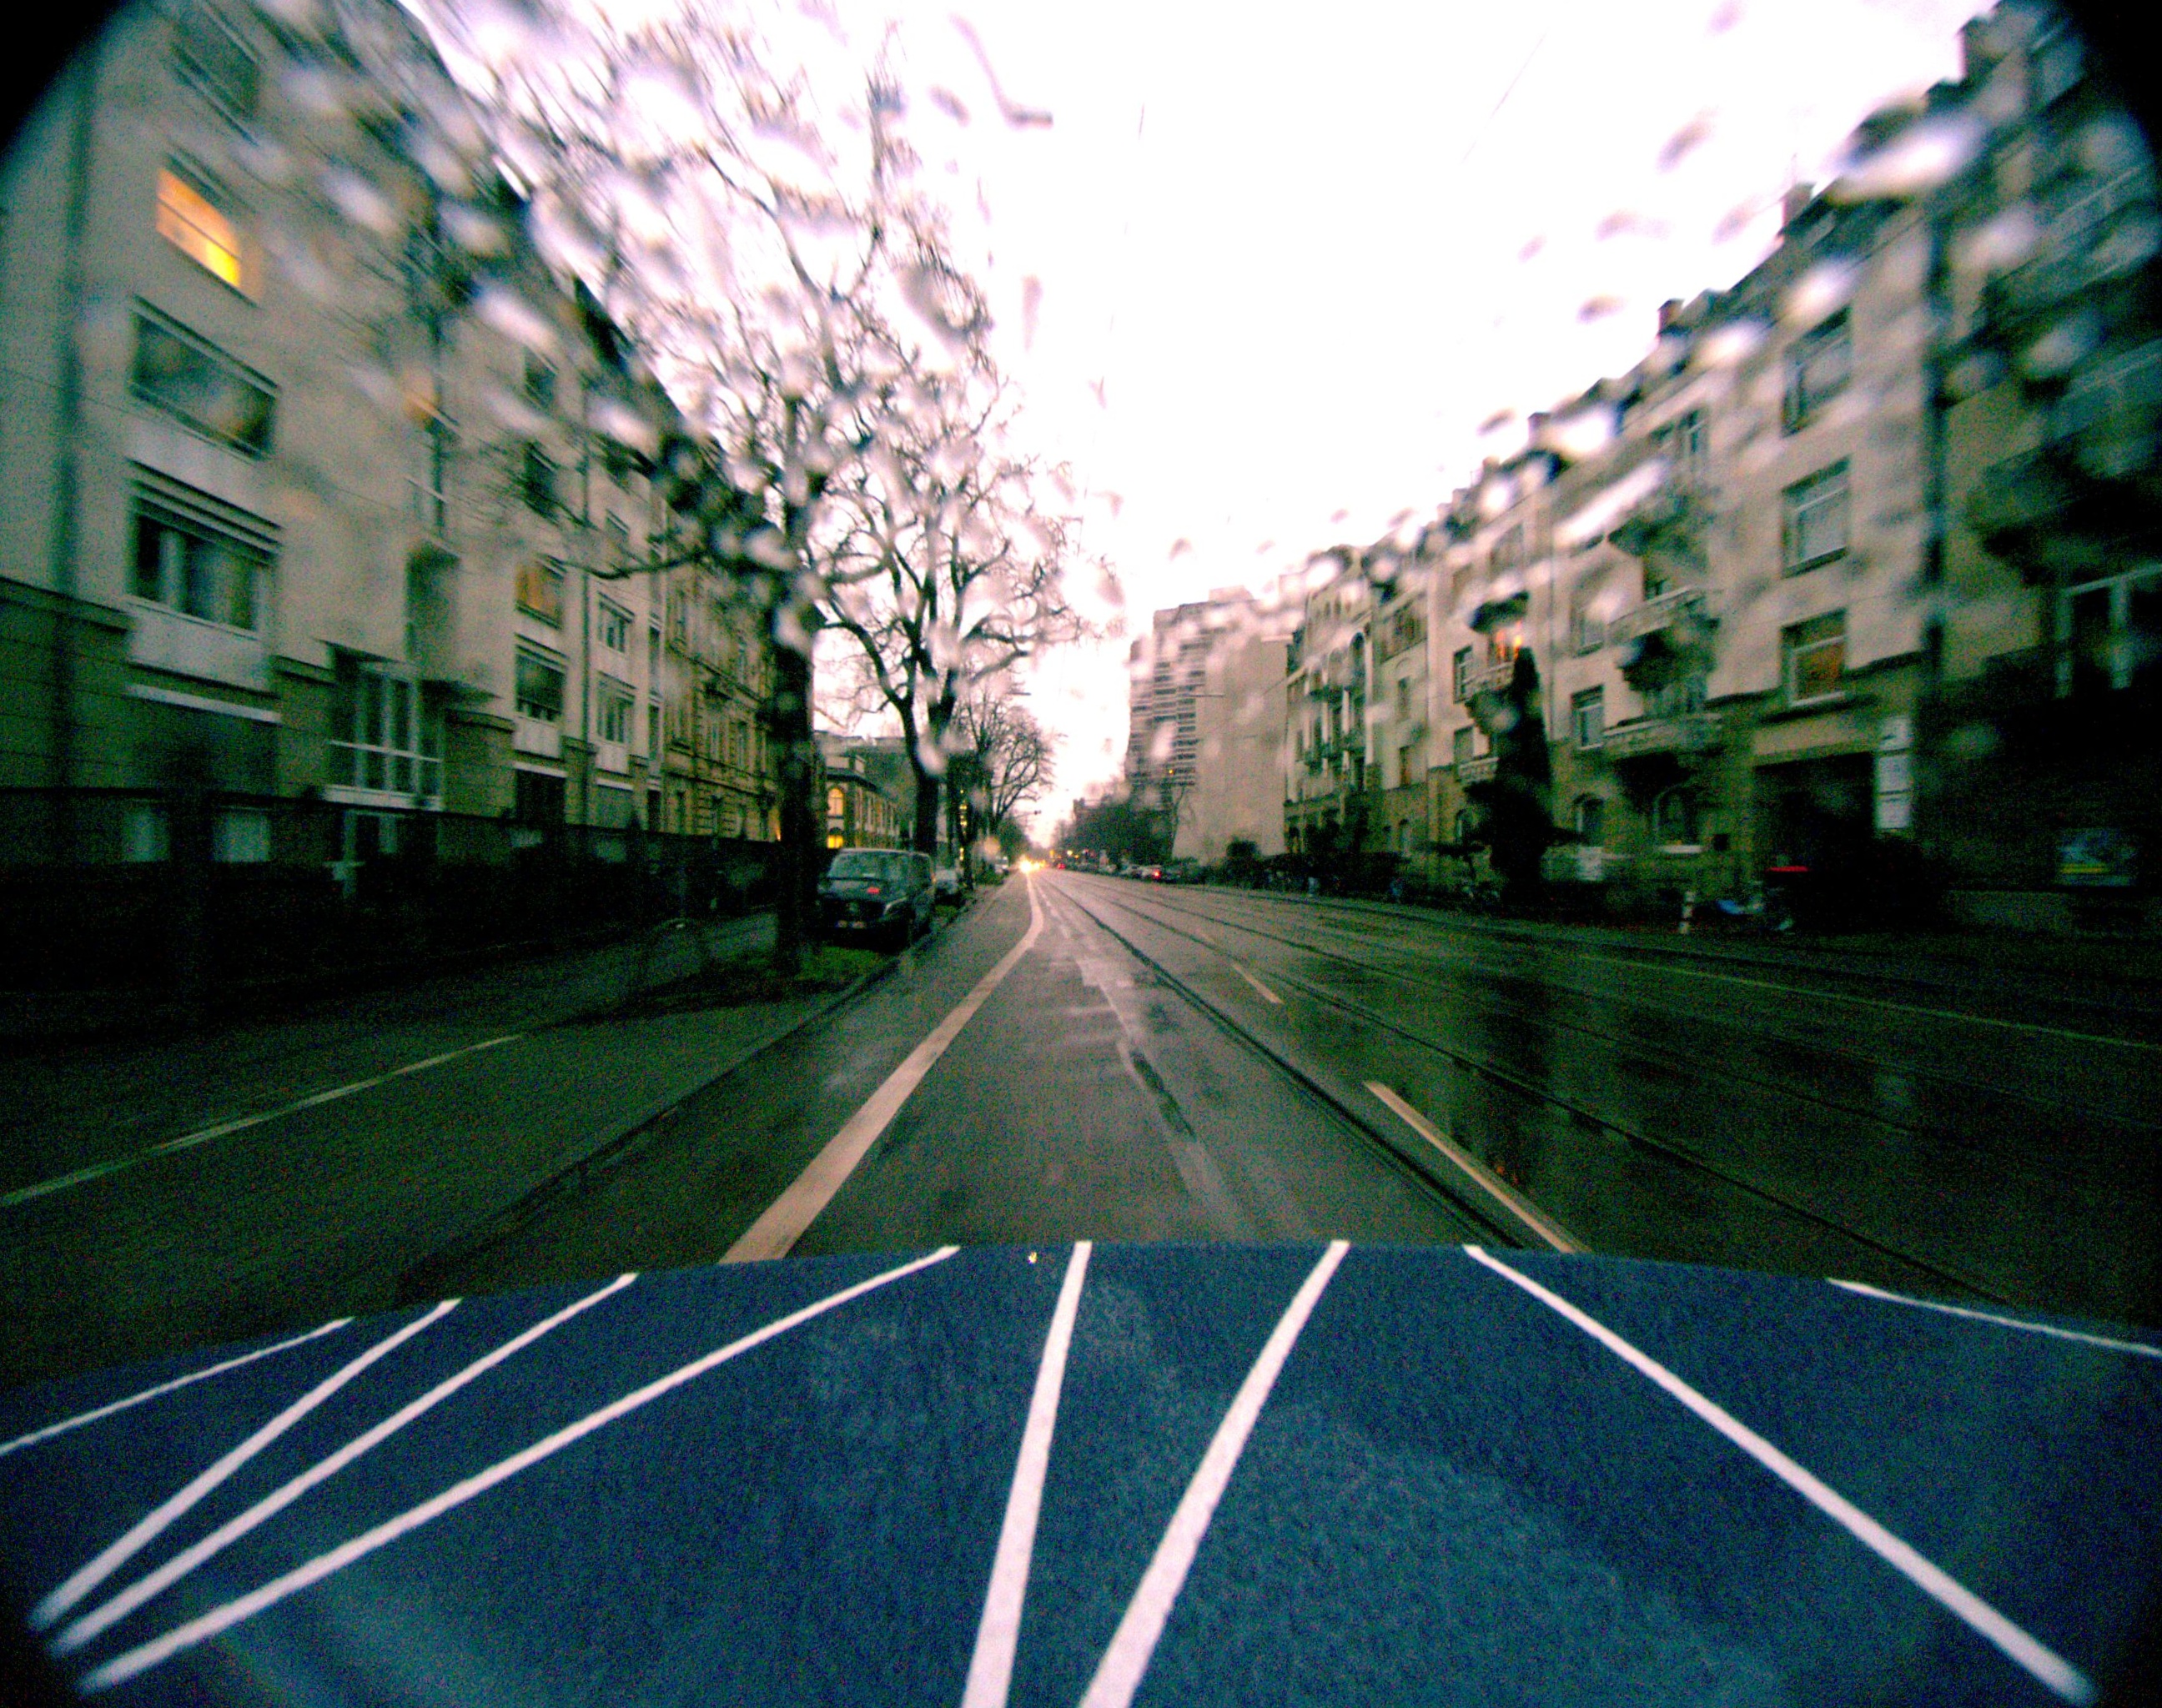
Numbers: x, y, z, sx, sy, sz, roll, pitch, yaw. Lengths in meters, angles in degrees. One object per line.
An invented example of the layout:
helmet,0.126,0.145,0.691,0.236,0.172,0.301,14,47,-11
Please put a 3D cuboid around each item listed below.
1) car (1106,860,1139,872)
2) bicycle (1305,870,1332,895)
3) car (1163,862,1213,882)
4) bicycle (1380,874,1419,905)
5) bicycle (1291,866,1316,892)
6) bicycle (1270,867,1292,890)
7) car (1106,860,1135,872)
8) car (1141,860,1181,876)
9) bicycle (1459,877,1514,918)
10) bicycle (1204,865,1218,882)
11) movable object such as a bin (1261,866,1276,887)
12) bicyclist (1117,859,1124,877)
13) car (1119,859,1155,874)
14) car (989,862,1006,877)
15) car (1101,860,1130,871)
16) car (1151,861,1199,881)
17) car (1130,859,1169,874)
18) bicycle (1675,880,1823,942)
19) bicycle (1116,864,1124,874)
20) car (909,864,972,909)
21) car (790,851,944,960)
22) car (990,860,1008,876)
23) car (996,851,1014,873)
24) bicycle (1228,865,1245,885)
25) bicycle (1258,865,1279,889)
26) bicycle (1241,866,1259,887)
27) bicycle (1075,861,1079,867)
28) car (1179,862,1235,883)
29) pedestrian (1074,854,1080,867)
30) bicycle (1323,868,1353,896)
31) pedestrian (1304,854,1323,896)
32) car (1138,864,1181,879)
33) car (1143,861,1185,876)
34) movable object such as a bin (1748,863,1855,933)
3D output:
car,5.282,1.503,96.071,4.008,1.586,1.864,0,0,-41
bicycle,10.479,1.240,33.606,0.625,1.059,1.726,0,0,-1
car,8.573,1.420,60.972,4.008,1.477,1.760,0,0,-41
bicycle,11.018,1.205,26.321,0.625,0.997,1.662,0,0,-1
bicycle,10.384,1.161,35.487,0.625,1.205,1.662,0,0,-1
bicycle,10.041,1.222,38.188,0.625,1.157,1.662,0,0,-1
car,5.604,1.709,107.704,4.008,1.586,1.864,0,0,-41
car,8.235,1.405,78.220,4.008,1.586,1.864,0,0,-41
bicycle,11.312,1.196,21.238,0.625,1.086,1.662,0,0,-1
bicycle,8.963,1.357,52.350,0.625,1.157,1.662,-1,0,-1
movable object such as a bin,10.528,1.262,42.613,0.659,1.157,0.674,0,0,-1
bicyclist,4.032,1.411,77.950,0.625,1.865,0.991,0,0,-2
car,6.447,1.423,87.605,4.008,1.586,1.864,0,0,-41
car,-8.274,1.520,74.944,1.629,1.399,3.997,-1,0,-7
car,5.004,1.647,109.663,4.008,1.586,1.864,0,0,-41
car,7.950,1.417,64.203,4.008,1.586,1.864,0,0,-41
car,7.305,1.321,80.936,4.008,1.586,1.864,0,0,-41
bicycle,13.315,1.119,15.176,2.355,1.099,0.695,-2,0,-2
bicycle,4.011,1.544,78.130,0.625,1.086,1.947,0,0,-1
car,-4.917,1.103,27.102,1.763,1.436,4.156,2,-1,-5
car,-4.142,0.921,15.627,2.036,1.864,4.962,1,0,-4
car,-9.226,1.574,85.179,2.000,1.672,3.997,-1,0,-7
car,-9.542,0.979,95.066,2.094,2.622,5.446,-1,0,-7
bicycle,9.512,1.262,46.565,0.625,1.205,1.662,0,0,-1
bicycle,9.910,1.200,40.226,0.625,1.205,1.662,0,0,-1
bicycle,9.790,1.282,44.032,0.625,1.205,1.662,0,0,-1
bicycle,-0.717,1.836,138.057,0.858,0.986,1.919,-1,0,0
car,9.760,1.408,58.662,4.007,1.485,1.864,0,0,-32
pedestrian,-0.682,1.210,138.100,0.952,2.246,1.119,-1,1,1
bicycle,10.697,1.167,31.662,0.625,1.119,1.783,0,0,-1
pedestrian,9.703,0.854,31.724,0.574,1.715,0.644,-1,1,0
car,6.855,1.534,66.568,3.674,1.245,1.707,1,0,-42
car,8.166,1.427,74.595,4.008,1.440,1.864,0,0,-41
movable object such as a bin,15.255,0.903,16.137,1.105,1.371,1.167,-3,0,-2
